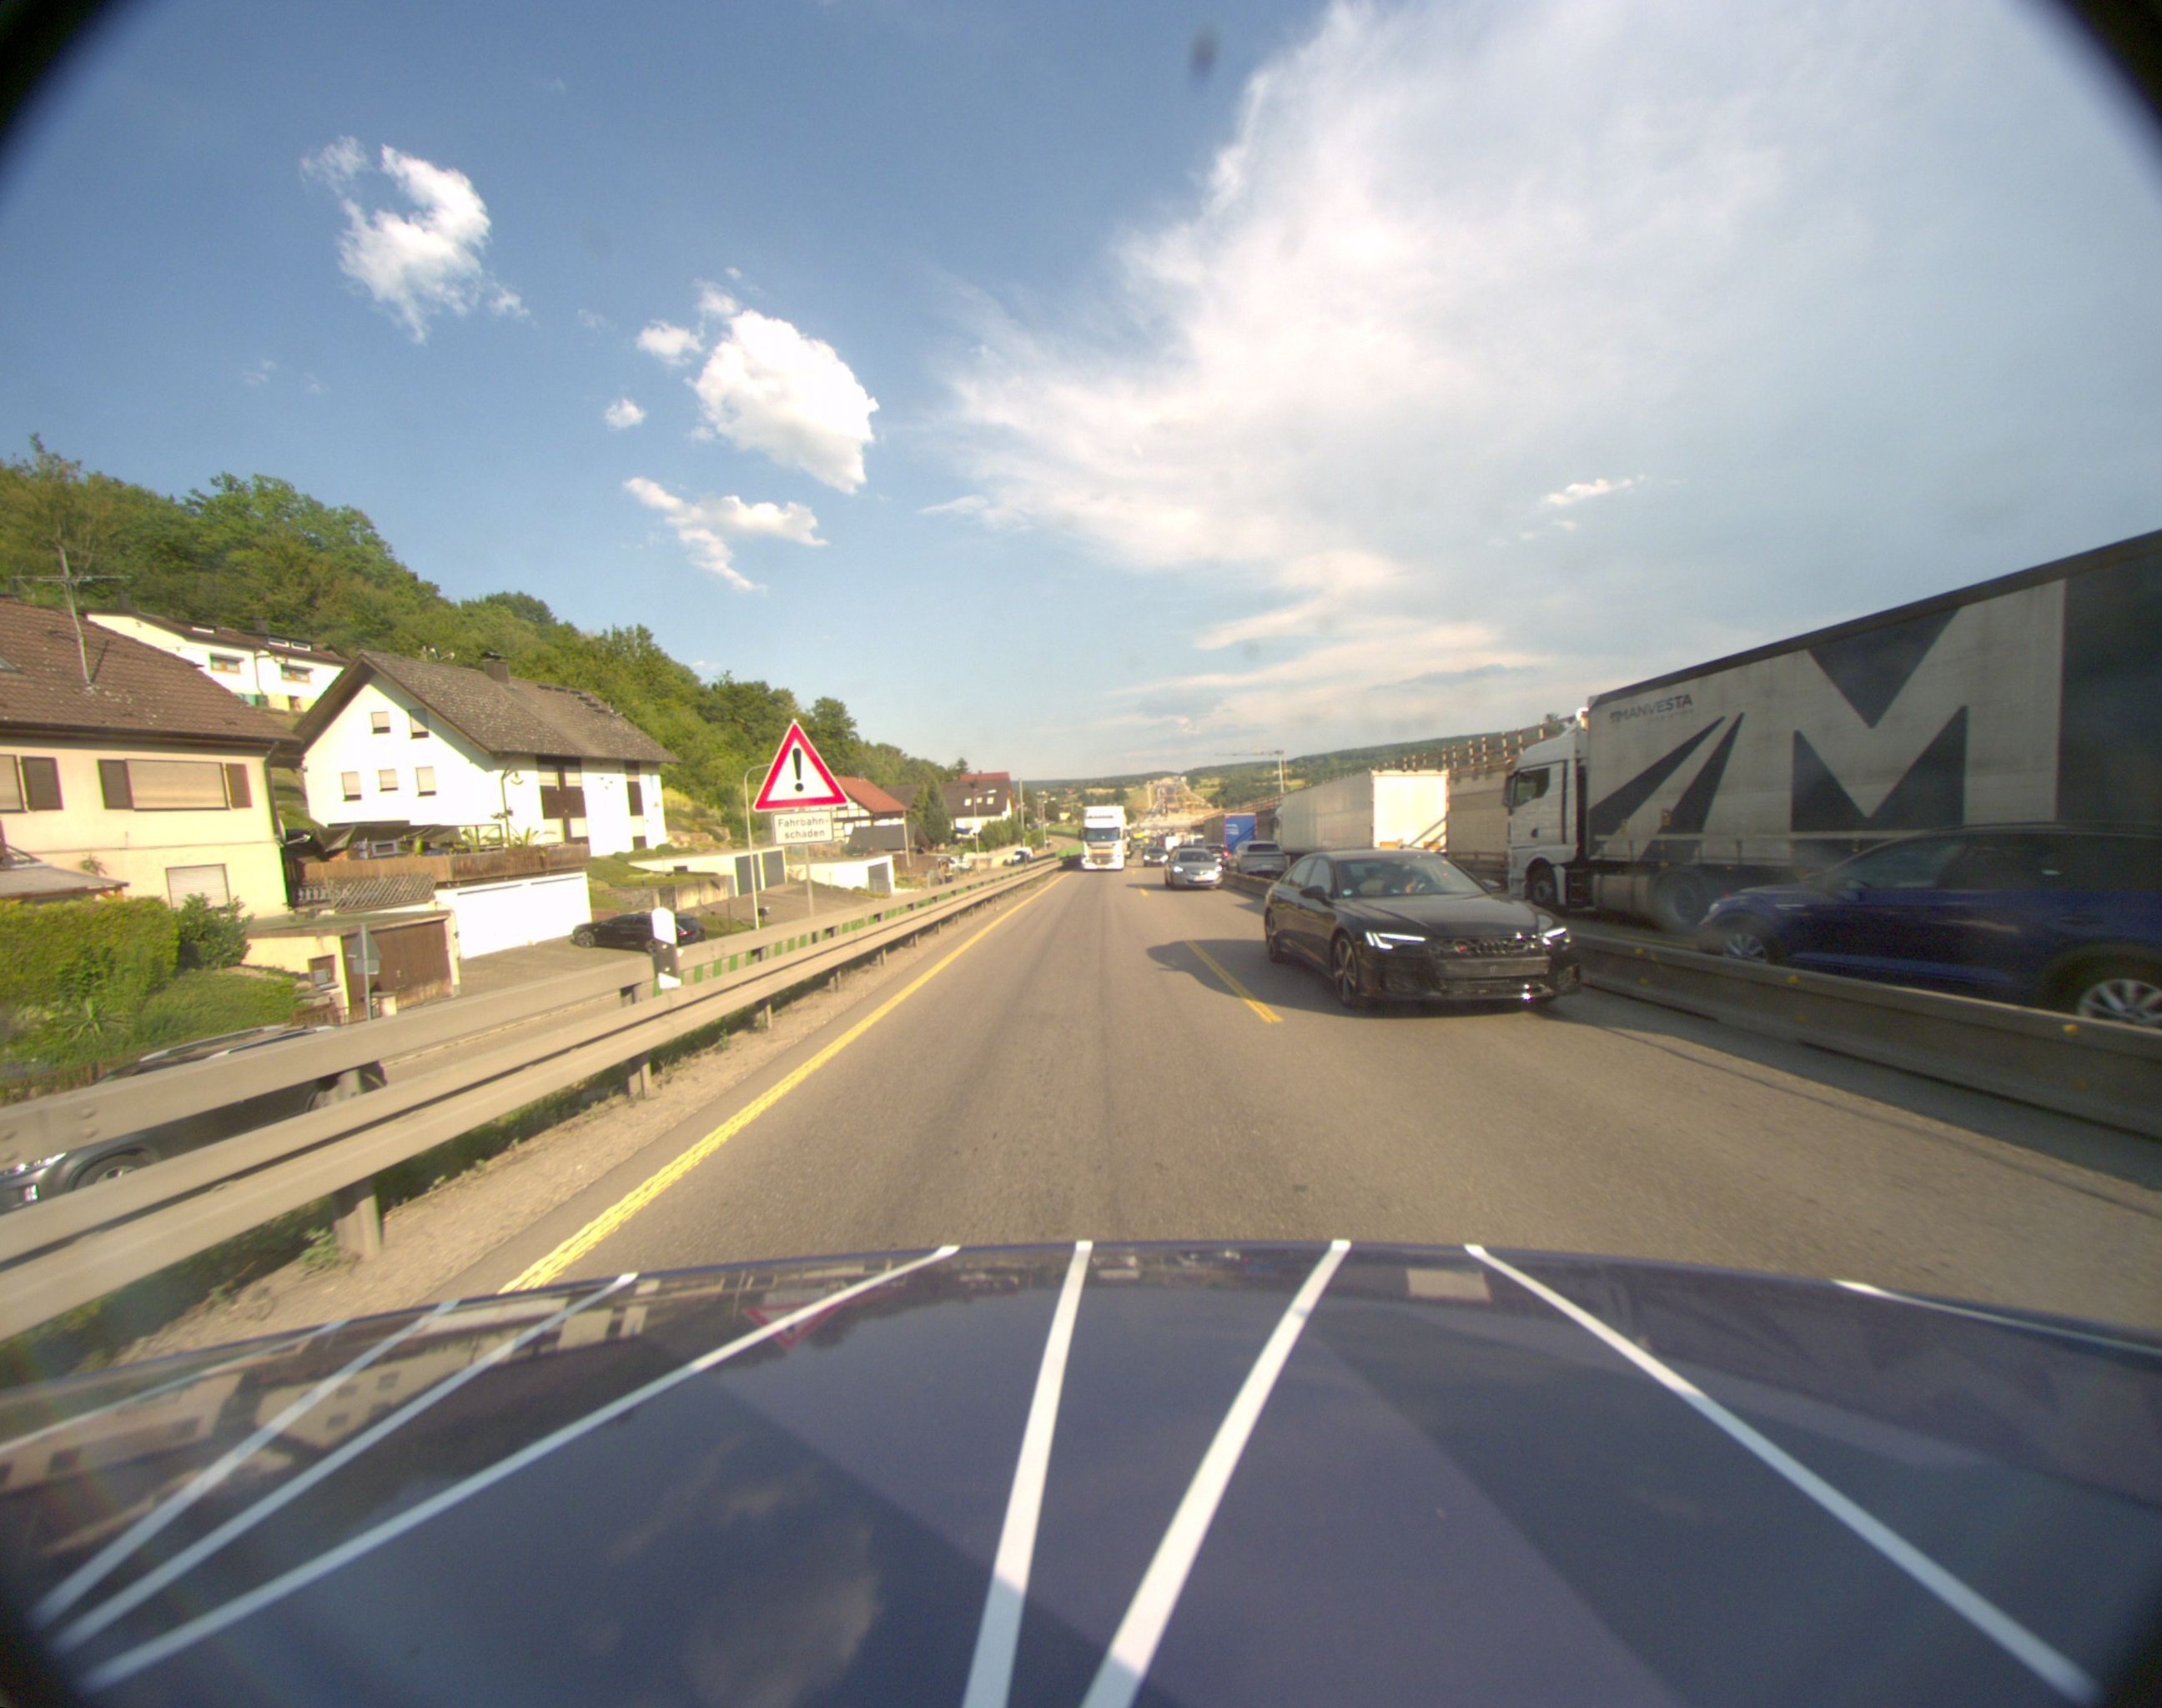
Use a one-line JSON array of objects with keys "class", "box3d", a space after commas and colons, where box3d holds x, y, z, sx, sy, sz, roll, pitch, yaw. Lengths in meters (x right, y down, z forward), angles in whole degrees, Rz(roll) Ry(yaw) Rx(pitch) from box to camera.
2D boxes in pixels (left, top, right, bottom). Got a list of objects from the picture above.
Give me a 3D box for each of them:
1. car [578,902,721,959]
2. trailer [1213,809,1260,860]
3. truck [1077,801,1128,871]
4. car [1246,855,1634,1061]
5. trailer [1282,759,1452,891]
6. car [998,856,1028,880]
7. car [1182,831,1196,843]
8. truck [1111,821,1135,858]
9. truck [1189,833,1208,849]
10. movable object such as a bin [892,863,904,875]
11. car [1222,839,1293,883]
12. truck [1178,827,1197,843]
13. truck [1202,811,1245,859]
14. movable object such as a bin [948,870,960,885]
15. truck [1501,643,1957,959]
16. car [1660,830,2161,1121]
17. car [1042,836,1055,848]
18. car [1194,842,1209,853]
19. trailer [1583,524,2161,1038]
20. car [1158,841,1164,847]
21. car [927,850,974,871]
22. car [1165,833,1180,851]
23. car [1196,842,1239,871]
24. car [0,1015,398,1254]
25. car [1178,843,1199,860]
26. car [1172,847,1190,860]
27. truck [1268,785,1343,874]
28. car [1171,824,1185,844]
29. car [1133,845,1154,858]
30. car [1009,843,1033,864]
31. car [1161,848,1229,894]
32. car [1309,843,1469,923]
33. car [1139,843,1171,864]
[{"class": "car", "box3d": [-16.767, 2.951, 29.638, 4.501, 1.517, 2.000, 5, 4, 7]}, {"class": "trailer", "box3d": [13.084, -1.634, 64.496, 2.822, 4.082, 8.287, -1, 1, 4]}, {"class": "truck", "box3d": [1.686, -1.189, 51.489, 2.892, 4.059, 13.894, -1, 1, 4]}, {"class": "car", "box3d": [3.273, 0.798, 8.371, 1.945, 1.472, 5.221, 0, 1, 2]}, {"class": "trailer", "box3d": [11.194, -1.074, 31.776, 2.461, 4.295, 13.774, -1, 1, 2]}, {"class": "car", "box3d": [-6.167, 1.306, 69.354, 1.771, 1.587, 3.623, -8, -7, 8]}, {"class": "car", "box3d": [19.340, -3.053, 135.931, 2.214, 2.011, 3.973, -4, 1, 5]}, {"class": "truck", "box3d": [5.399, -1.754, 98.117, 2.788, 4.505, 7.191, -3, 0, 2]}, {"class": "truck", "box3d": [17.616, -1.958, 114.181, 2.279, 2.288, 6.065, -4, 1, 5]}, {"class": "movable object such as a bin", "box3d": [-14.264, 1.193, 59.305, 0.688, 0.896, 0.680, -1, 2, 2]}, {"class": "car", "box3d": [7.644, 0.218, 33.333, 2.013, 1.645, 4.973, -3, 1, 2]}, {"class": "truck", "box3d": [21.019, -3.801, 150.351, 3.242, 3.128, 6.489, -1, 1, 3]}, {"class": "truck", "box3d": [13.700, -1.818, 73.899, 2.822, 4.234, 10.581, -1, 1, 4]}, {"class": "movable object such as a bin", "box3d": [-9.492, 1.766, 56.840, 0.723, 0.995, 0.677, -3, 2, 4]}, {"class": "truck", "box3d": [10.333, -0.755, 13.230, 2.771, 4.179, 6.114, -1, 1, 1]}, {"class": "car", "box3d": [6.880, 0.632, 5.657, 1.771, 1.542, 4.478, -2, 2, 1]}, {"class": "car", "box3d": [-5.593, -2.125, 132.912, 1.998, 2.002, 3.999, -1, 1, 1]}, {"class": "car", "box3d": [16.231, -0.890, 102.385, 1.711, 1.379, 4.001, -4, 1, 7]}, {"class": "trailer", "box3d": [10.195, -0.616, 6.583, 2.783, 4.179, 13.831, -1, 1, 1]}, {"class": "car", "box3d": [22.385, -2.815, 212.866, 1.712, 1.312, 3.665, -4, 1, 5]}, {"class": "car", "box3d": [-12.059, 0.584, 70.340, 3.995, 1.829, 1.750, 1, 3, 5]}, {"class": "car", "box3d": [13.942, -1.789, 115.675, 2.000, 2.601, 5.614, 0, 1, 4]}, {"class": "car", "box3d": [8.562, 0.141, 48.069, 1.885, 1.598, 4.730, -3, 1, 2]}, {"class": "car", "box3d": [-13.741, 3.973, 11.736, 1.866, 1.775, 4.498, -1, 3, 8]}, {"class": "car", "box3d": [10.286, -0.267, 72.824, 1.703, 1.567, 4.370, -1, 1, 4]}, {"class": "car", "box3d": [12.105, -0.067, 92.236, 1.746, 1.432, 4.592, -3, 1, 4]}, {"class": "truck", "box3d": [11.526, -1.234, 39.413, 2.461, 4.291, 5.473, -1, 1, 2]}, {"class": "car", "box3d": [26.960, -5.457, 211.873, 3.326, 5.356, 14.301, -1, 1, 6]}, {"class": "car", "box3d": [7.505, -0.308, 91.660, 1.999, 1.565, 3.997, -1, 1, -4]}, {"class": "car", "box3d": [-6.330, -0.050, 80.639, 1.824, 1.931, 4.283, -2, 3, 3]}, {"class": "car", "box3d": [4.017, 0.550, 27.361, 1.810, 1.478, 4.117, 0, 1, -1]}, {"class": "car", "box3d": [6.925, 0.551, 17.678, 1.779, 1.448, 4.813, -3, 2, 1]}, {"class": "car", "box3d": [5.369, -0.041, 55.515, 1.823, 1.433, 3.999, -2, 0, -1]}]
